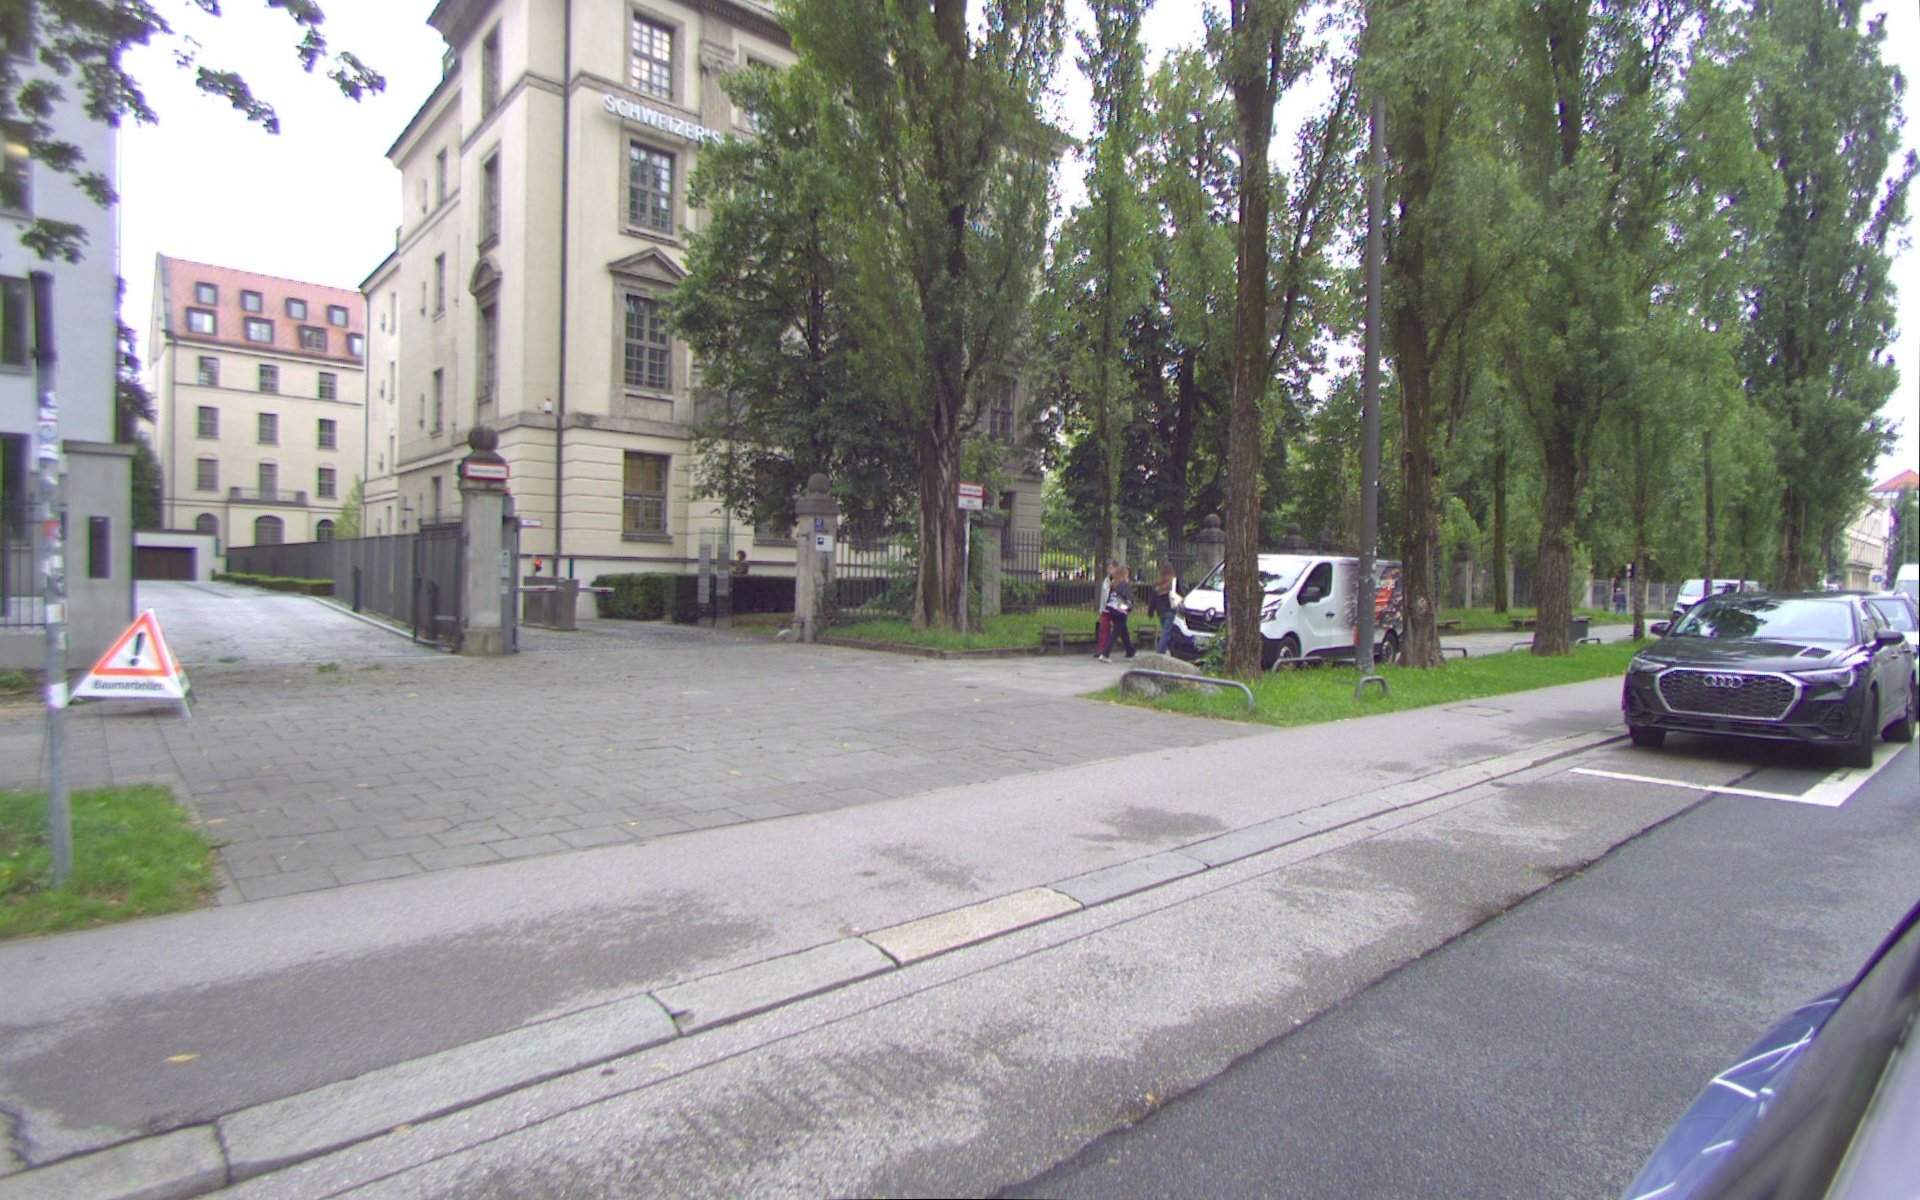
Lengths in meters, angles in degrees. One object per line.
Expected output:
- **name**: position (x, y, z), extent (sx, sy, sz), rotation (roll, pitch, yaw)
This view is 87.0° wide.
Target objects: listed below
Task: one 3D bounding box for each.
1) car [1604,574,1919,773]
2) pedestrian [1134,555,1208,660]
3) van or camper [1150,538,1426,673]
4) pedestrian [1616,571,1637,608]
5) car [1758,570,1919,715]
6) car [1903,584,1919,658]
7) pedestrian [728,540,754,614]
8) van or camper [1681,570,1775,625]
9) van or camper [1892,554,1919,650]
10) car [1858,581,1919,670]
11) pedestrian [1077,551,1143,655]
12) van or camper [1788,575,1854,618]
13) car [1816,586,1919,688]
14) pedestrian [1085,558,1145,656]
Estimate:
- **car**: position (8.298, 0.572, 10.190), extent (4.386, 1.560, 1.884), rotation (0, 1, -41)
- **pedestrian**: position (3.634, 0.111, 17.410), extent (0.852, 1.738, 0.855), rotation (0, 2, -42)
- **van or camper**: position (5.718, 0.070, 17.232), extent (5.275, 1.958, 2.080), rotation (0, 0, -41)
- **pedestrian**: position (36.720, -0.590, 55.735), extent (0.898, 2.038, 0.946), rotation (2, 1, 33)
- **car**: position (12.564, 0.494, 13.900), extent (4.501, 1.696, 1.746), rotation (0, 1, -42)
- **car**: position (23.582, 0.492, 23.802), extent (4.344, 1.669, 1.786), rotation (0, 1, -44)
- **pedestrian**: position (-6.118, -0.644, 28.315), extent (0.536, 2.038, 0.456), rotation (0, 1, -41)
- **van or camper**: position (29.032, -0.103, 38.184), extent (4.952, 1.958, 1.978), rotation (0, 0, -42)
- **van or camper**: position (28.352, 0.065, 28.746), extent (6.306, 2.572, 2.142), rotation (0, 1, -42)
- **car**: position (19.685, 0.489, 20.430), extent (4.558, 1.638, 1.787), rotation (0, 1, -42)
- **pedestrian**: position (2.703, 0.037, 18.241), extent (0.852, 1.791, 0.723), rotation (0, 4, -41)
- **van or camper**: position (43.340, -0.191, 50.913), extent (4.902, 2.039, 2.005), rotation (0, 0, -43)
- **car**: position (16.082, 0.573, 17.240), extent (4.221, 1.539, 1.705), rotation (0, 1, -42)
- **pedestrian**: position (2.628, 0.105, 17.151), extent (0.852, 1.598, 0.568), rotation (0, 2, -42)
